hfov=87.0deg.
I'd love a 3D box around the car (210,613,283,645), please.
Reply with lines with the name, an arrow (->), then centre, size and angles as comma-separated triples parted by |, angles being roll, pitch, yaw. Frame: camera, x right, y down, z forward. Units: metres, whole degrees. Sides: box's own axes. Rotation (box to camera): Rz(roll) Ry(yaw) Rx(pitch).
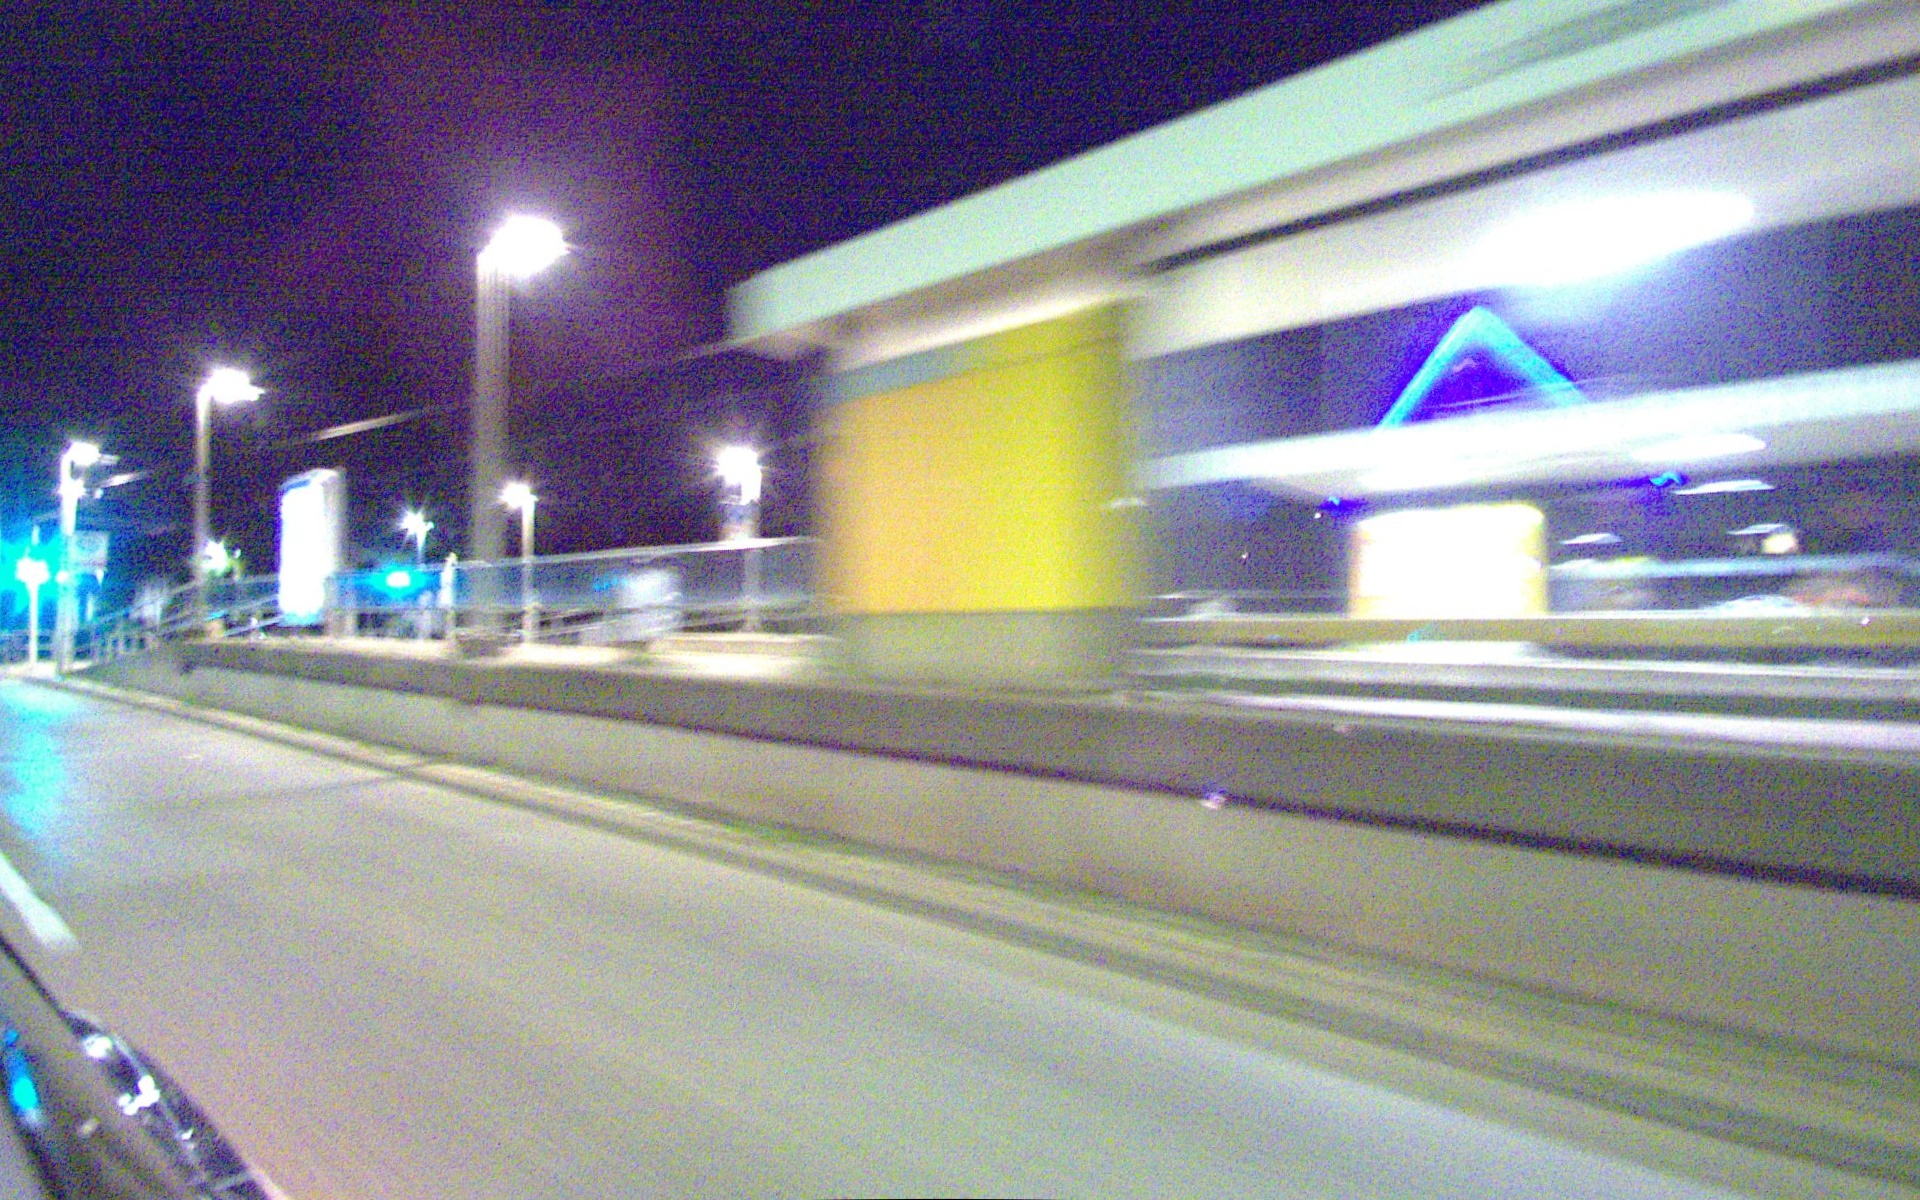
car -> -36.016, 1.453, 51.049 | 4.088, 1.516, 1.848 | -1, -2, 37
